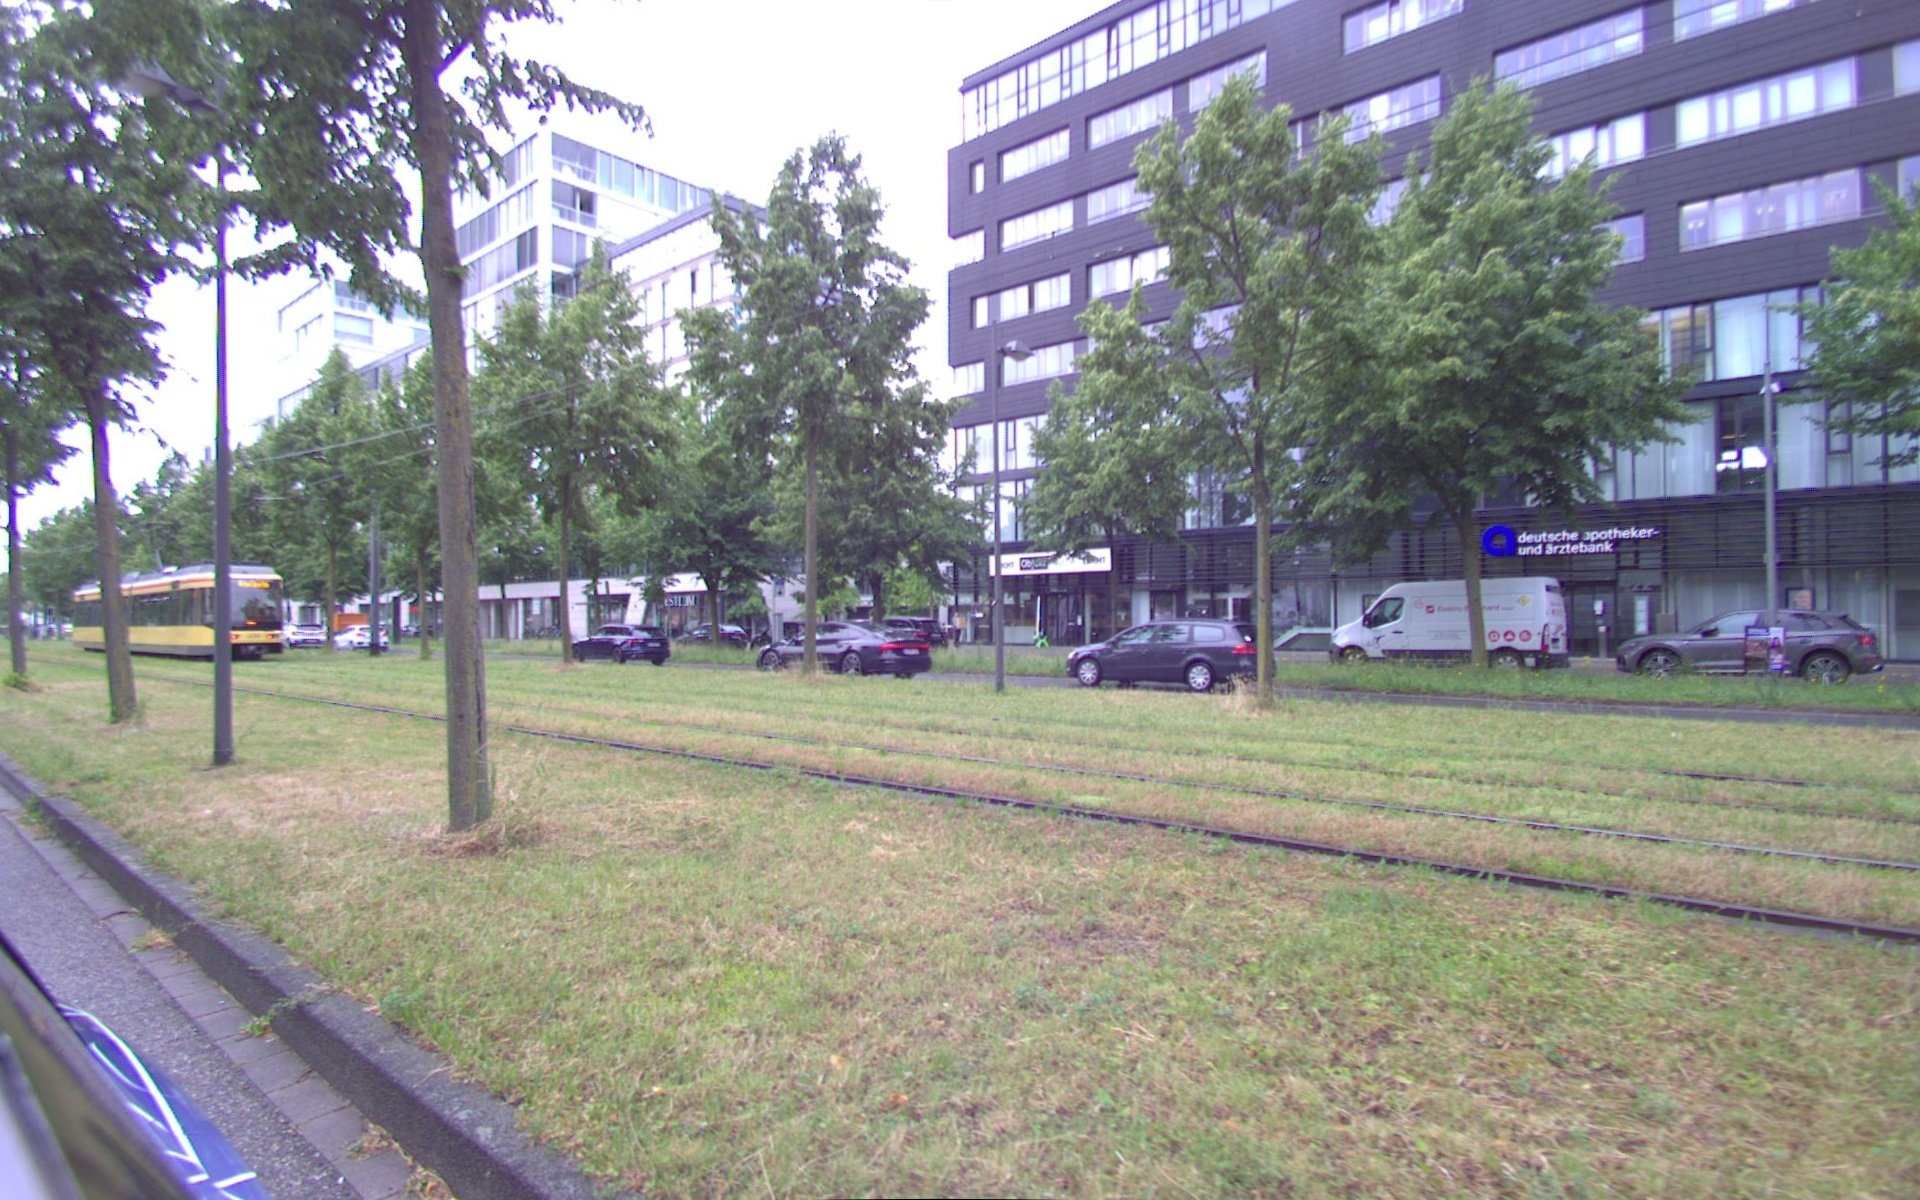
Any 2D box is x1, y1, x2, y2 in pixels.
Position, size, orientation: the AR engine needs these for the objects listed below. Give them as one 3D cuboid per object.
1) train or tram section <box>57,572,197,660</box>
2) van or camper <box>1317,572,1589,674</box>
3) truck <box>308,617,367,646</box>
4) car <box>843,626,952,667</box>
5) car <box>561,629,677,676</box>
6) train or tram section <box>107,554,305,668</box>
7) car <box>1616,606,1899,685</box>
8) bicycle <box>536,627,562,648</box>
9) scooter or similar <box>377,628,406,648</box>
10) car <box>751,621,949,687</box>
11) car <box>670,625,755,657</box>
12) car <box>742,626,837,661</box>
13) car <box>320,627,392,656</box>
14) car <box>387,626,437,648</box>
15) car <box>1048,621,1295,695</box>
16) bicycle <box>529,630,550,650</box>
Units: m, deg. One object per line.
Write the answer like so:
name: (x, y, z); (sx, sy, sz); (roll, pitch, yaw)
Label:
train or tram section: (-39.887, 0.807, 48.168); (13.400, 3.687, 3.096); (-2, -1, 42)
van or camper: (12.515, 0.581, 25.994); (5.848, 2.333, 2.407); (-2, -1, 42)
truck: (-51.643, 2.634, 83.893); (6.306, 2.309, 2.401); (-2, -1, 41)
car: (-2.460, 1.760, 39.038); (4.239, 1.460, 1.684); (-2, -1, 42)
car: (-12.268, 1.832, 36.239); (4.875, 1.533, 1.971); (-2, -1, 45)
train or tram section: (-29.231, 0.518, 38.720); (15.057, 3.687, 3.096); (-2, -1, 42)
car: (17.064, 0.929, 21.877); (4.603, 1.533, 1.973); (-2, -1, 40)
bicycle: (-31.354, 2.862, 77.246); (0.680, 1.550, 1.686); (-2, -1, 40)
scooter or similar: (-52.246, 3.479, 93.018); (0.884, 1.838, 2.105); (-2, -1, 37)
car: (-2.741, 1.237, 24.372); (4.870, 1.390, 1.973); (-1, -1, 41)
car: (-11.645, 1.916, 47.472); (3.998, 1.389, 1.973); (-2, -1, 41)
car: (-7.368, 1.837, 43.635); (3.998, 1.389, 1.973); (-2, -1, 41)
car: (-33.289, 2.267, 55.745); (4.869, 1.533, 1.973); (-2, -1, 40)
car: (-38.592, 2.608, 71.201); (3.986, 1.476, 1.835); (-2, -2, 41)
car: (4.445, 1.171, 21.758); (4.870, 1.390, 1.973); (-2, -1, 41)
bicycle: (-32.645, 3.126, 78.516); (0.546, 1.494, 1.417); (-2, -1, 40)
